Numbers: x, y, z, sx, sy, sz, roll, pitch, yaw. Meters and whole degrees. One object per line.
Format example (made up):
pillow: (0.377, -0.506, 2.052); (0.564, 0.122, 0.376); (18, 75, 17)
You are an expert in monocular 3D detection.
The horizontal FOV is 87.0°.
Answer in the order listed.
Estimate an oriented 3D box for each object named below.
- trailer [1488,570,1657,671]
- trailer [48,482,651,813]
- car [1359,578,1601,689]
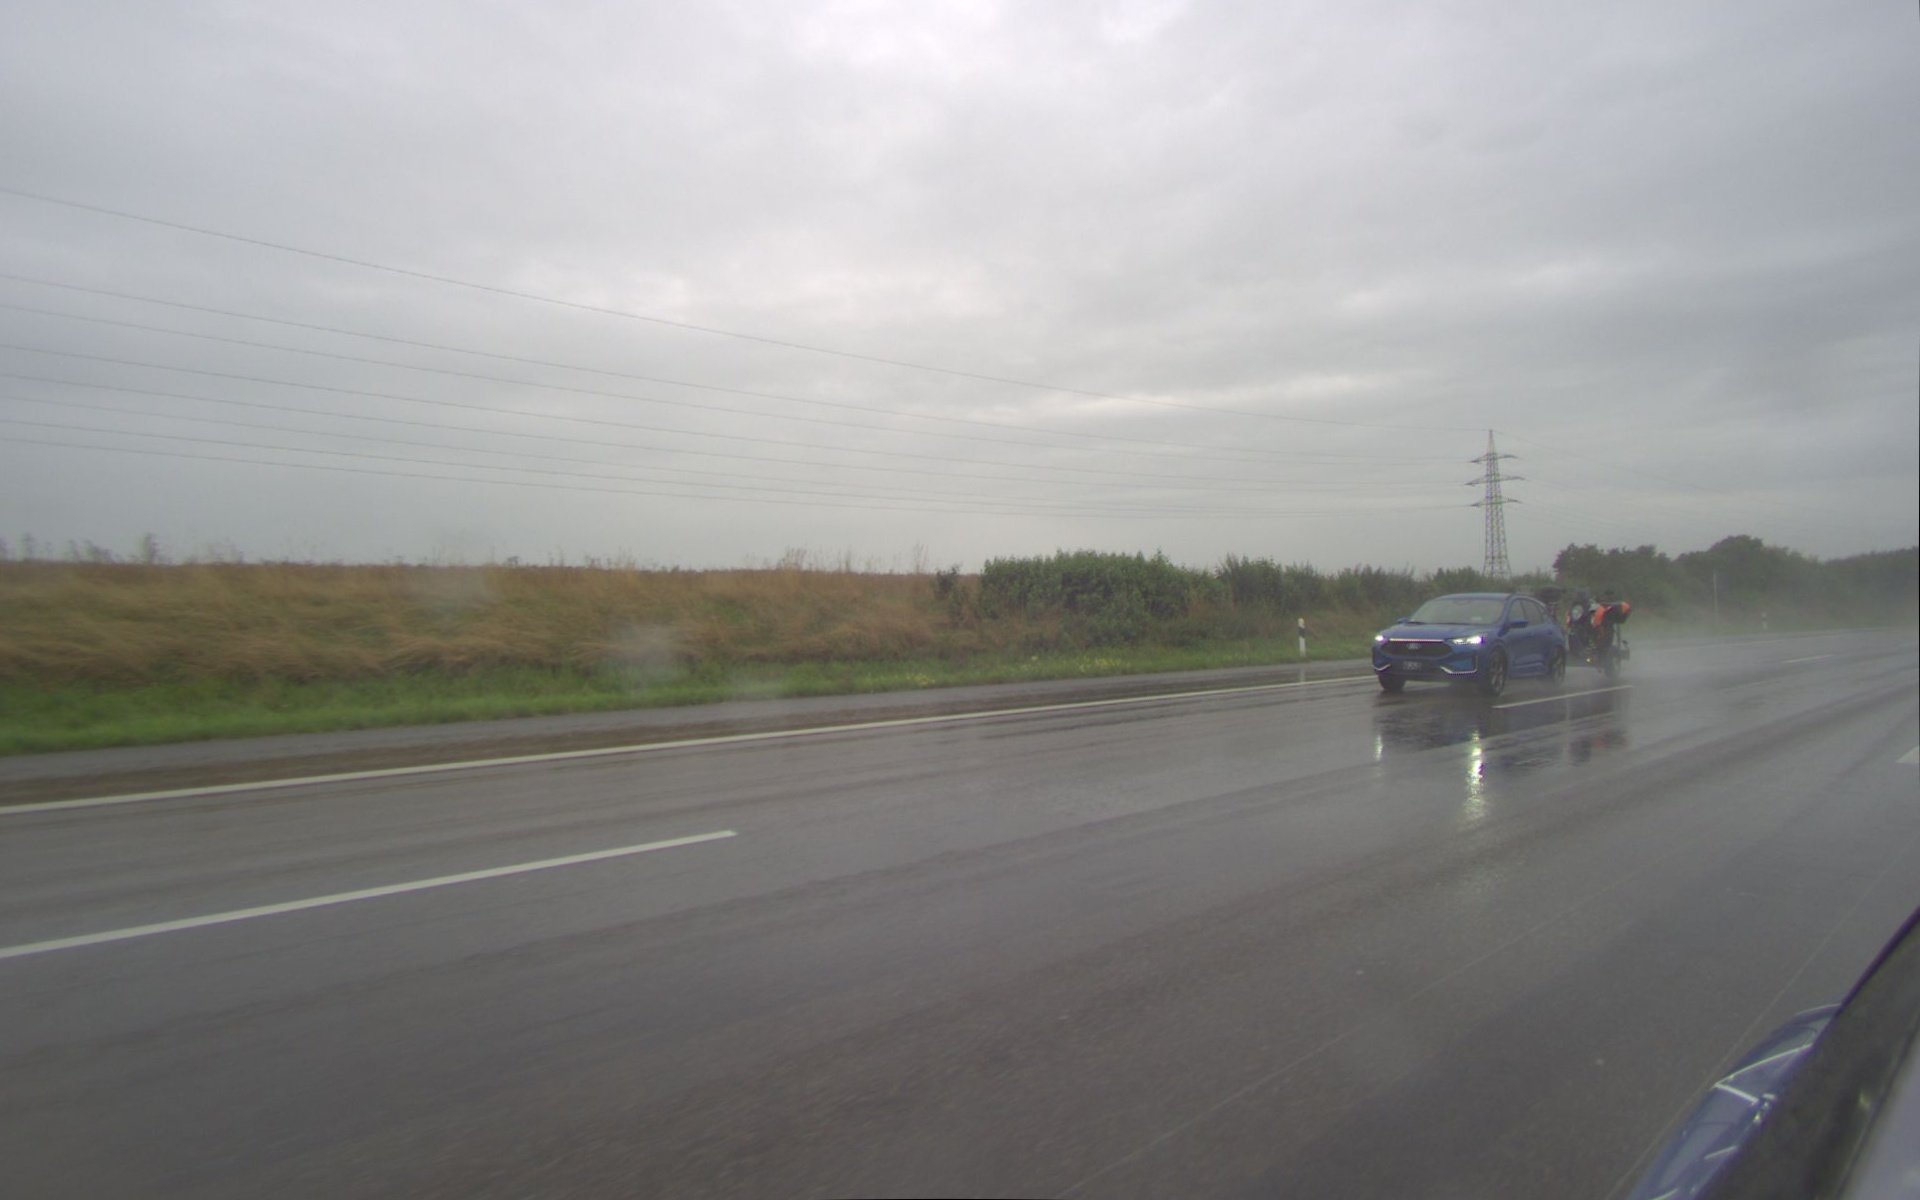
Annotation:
trailer: (12.089, 0.358, 19.948); (3.133, 1.807, 1.982); (0, 0, -41)
trailer: (-4.833, 0.278, 8.320); (3.933, 2.039, 1.995); (0, 0, -43)
car: (8.997, 0.481, 17.313); (4.905, 1.639, 1.997); (0, 0, -41)
